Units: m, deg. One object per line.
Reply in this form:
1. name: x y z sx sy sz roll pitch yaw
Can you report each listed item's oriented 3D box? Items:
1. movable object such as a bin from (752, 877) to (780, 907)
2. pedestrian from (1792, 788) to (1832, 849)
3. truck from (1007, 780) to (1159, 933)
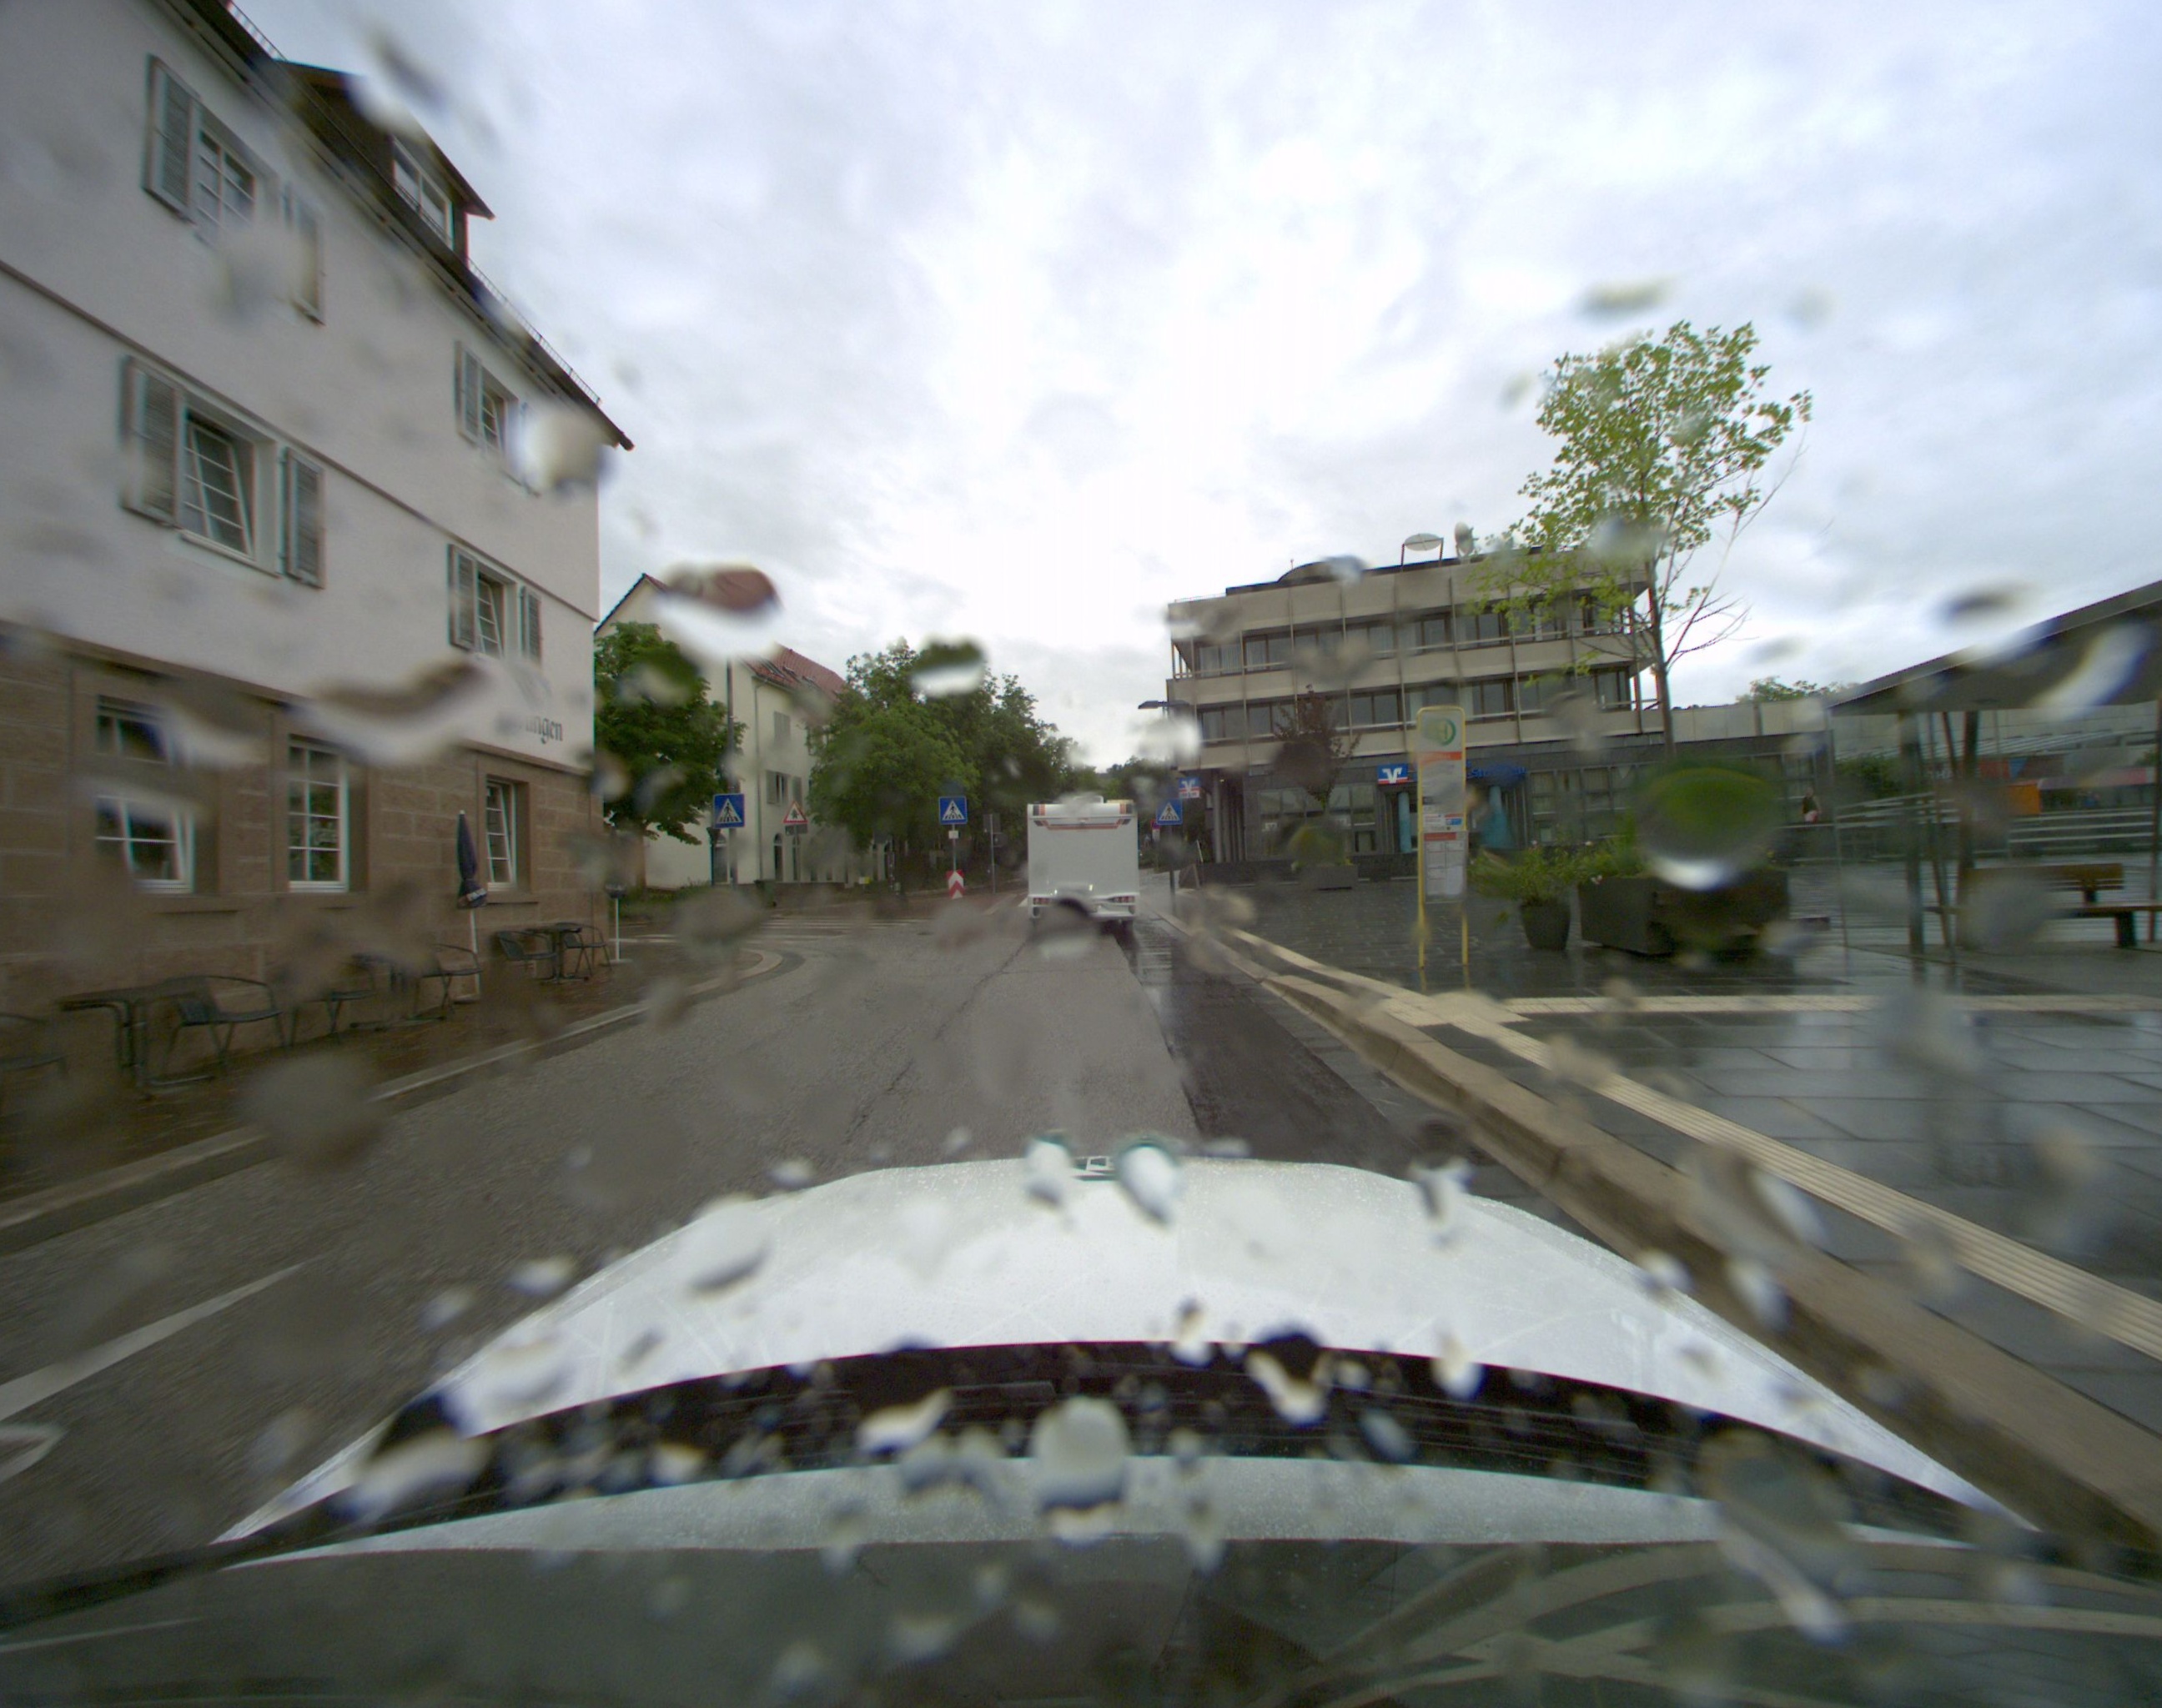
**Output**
1. movable object such as a bin: -11.825 1.418 30.583 0.628 1.059 0.702 -5 -2 25
2. pedestrian: 26.872 -1.300 29.959 0.751 2.147 0.662 -4 -2 21
3. truck: 0.061 0.120 18.982 2.797 2.797 6.105 -4 -1 0
